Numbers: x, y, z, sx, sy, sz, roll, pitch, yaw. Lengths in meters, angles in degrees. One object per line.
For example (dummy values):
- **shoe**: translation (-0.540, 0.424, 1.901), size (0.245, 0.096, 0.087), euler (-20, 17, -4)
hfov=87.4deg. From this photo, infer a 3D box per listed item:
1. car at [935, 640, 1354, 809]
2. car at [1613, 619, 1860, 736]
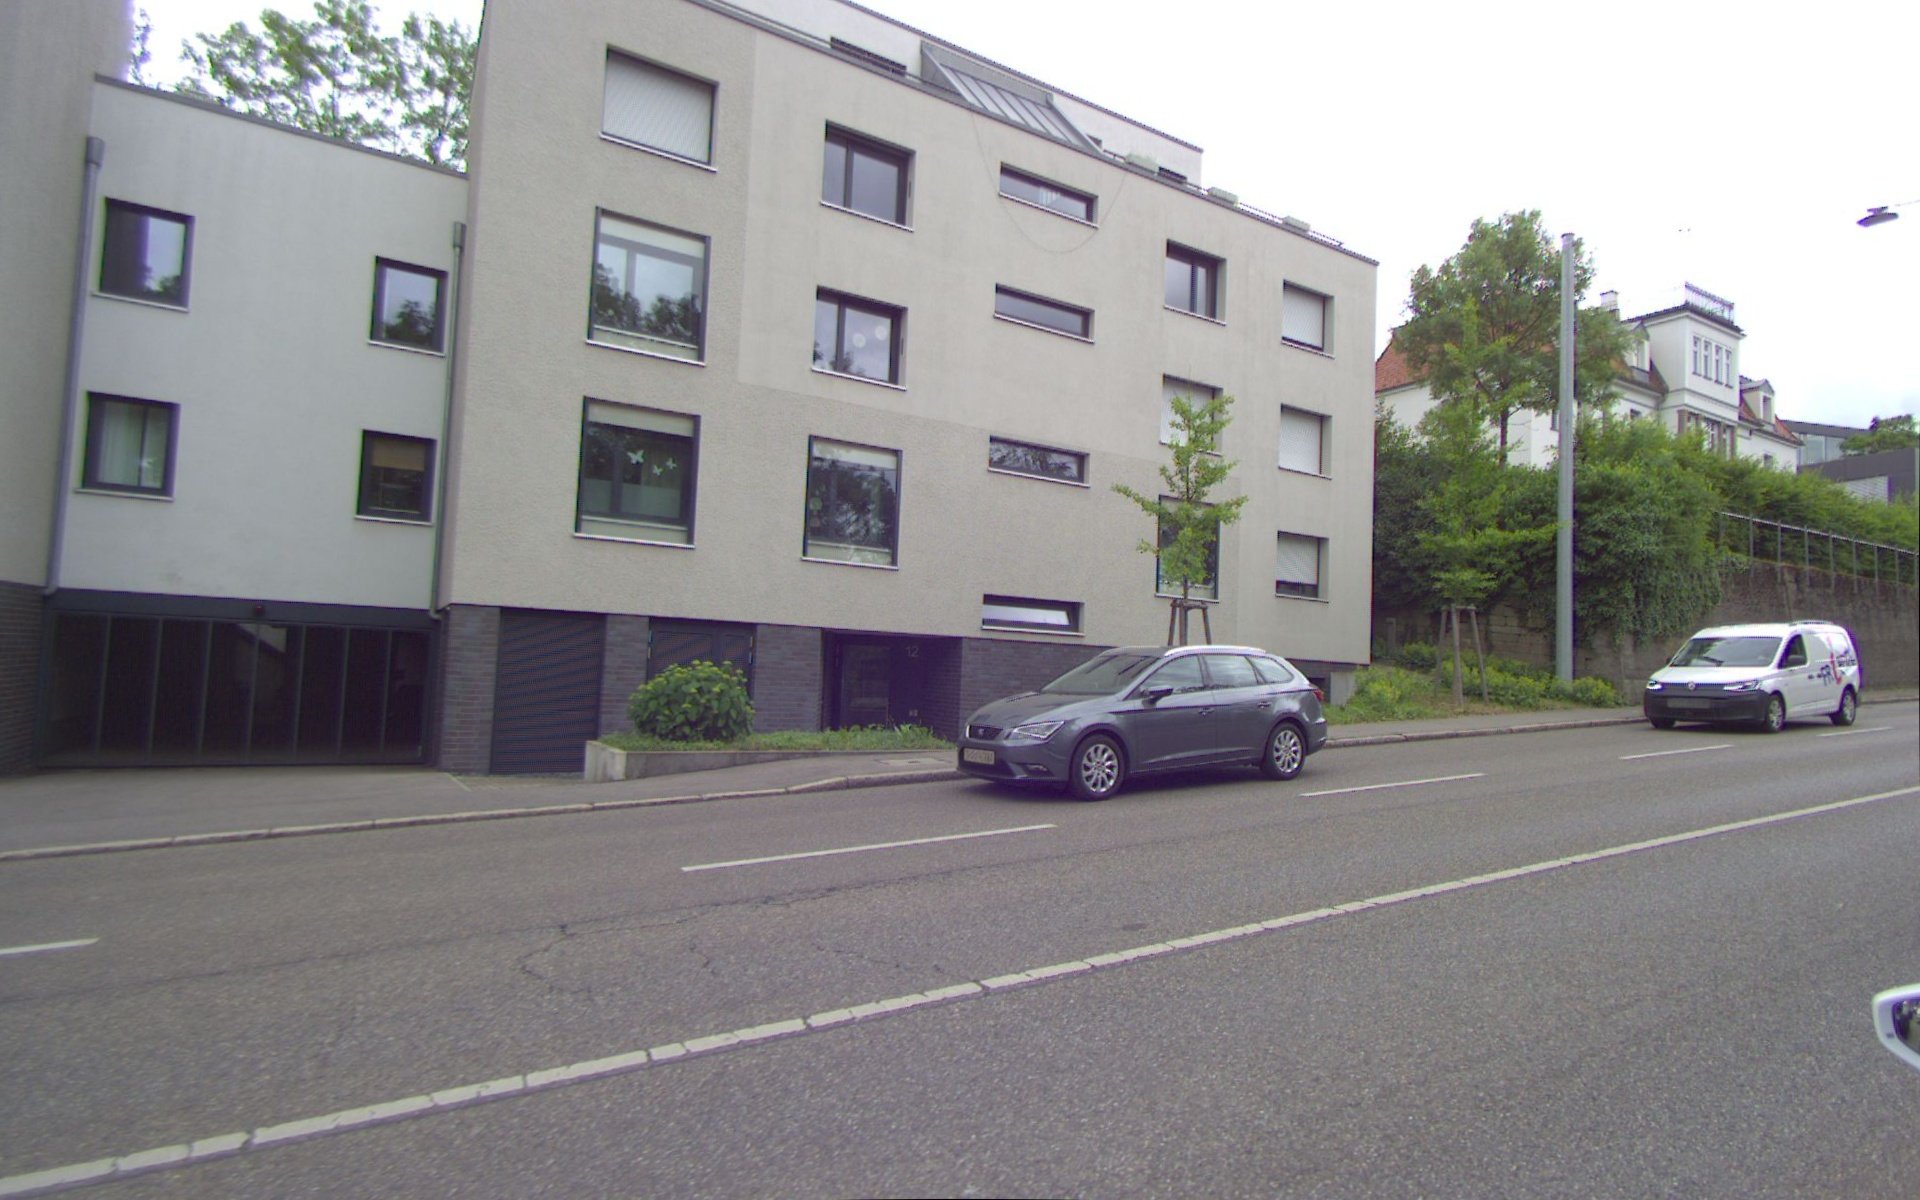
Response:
- **car**: translation (2.054, 1.193, 10.790), size (4.372, 1.483, 1.725), euler (1, -4, -31)
- **car**: translation (13.585, 1.284, 17.500), size (4.810, 1.811, 1.725), euler (1, -3, -31)
